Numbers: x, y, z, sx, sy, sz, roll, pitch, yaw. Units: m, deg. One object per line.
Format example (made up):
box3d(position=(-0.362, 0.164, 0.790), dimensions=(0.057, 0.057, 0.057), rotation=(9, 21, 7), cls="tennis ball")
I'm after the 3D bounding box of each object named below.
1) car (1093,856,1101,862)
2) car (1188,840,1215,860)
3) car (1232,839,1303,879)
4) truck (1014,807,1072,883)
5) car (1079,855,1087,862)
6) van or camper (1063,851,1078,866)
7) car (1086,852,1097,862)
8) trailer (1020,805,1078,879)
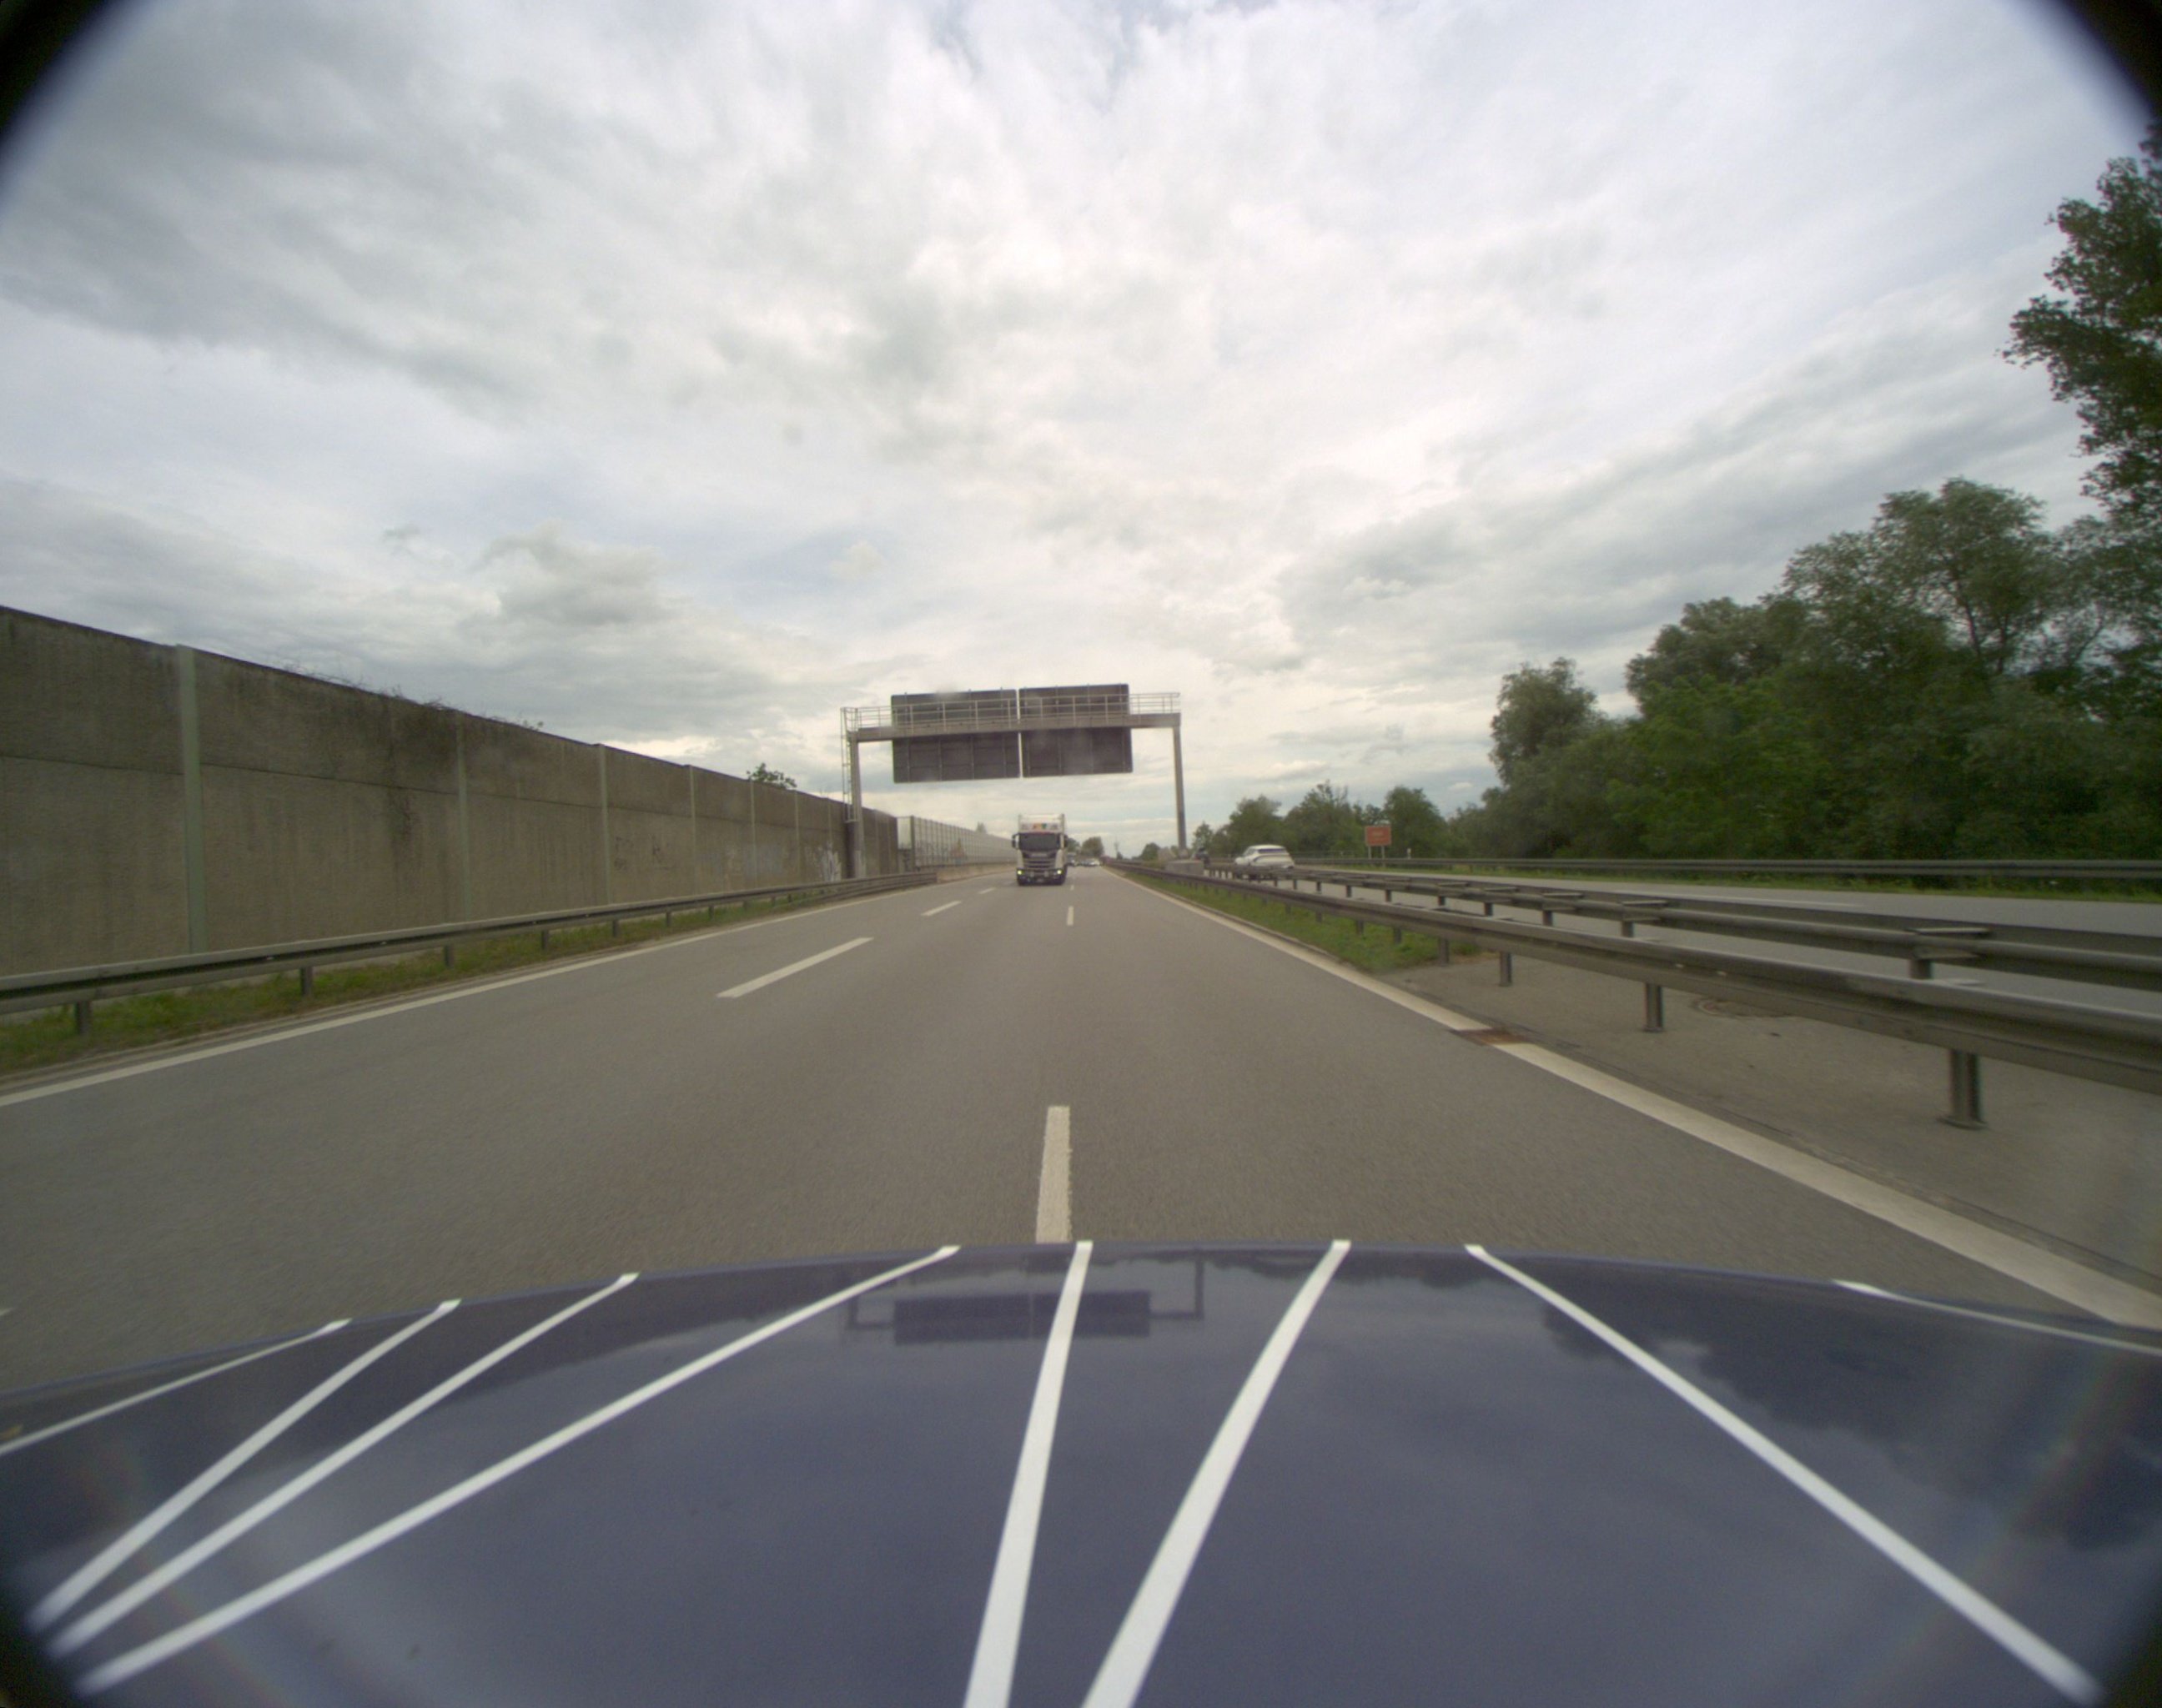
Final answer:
box3d(position=(4.161, 1.316, 195.996), dimensions=(1.889, 1.608, 3.999), rotation=(-2, 0, 0), cls="car")
box3d(position=(12.787, -0.403, 80.753), dimensions=(1.999, 1.991, 4.743), rotation=(-2, 1, -1), cls="car")
box3d(position=(8.390, 0.206, 34.703), dimensions=(1.998, 1.606, 5.028), rotation=(-2, 0, 1), cls="car")
box3d(position=(-2.063, -0.457, 43.107), dimensions=(2.762, 3.936, 5.678), rotation=(-1, 0, 2), cls="truck")
box3d(position=(0.566, 1.083, 183.620), dimensions=(1.889, 1.608, 3.999), rotation=(-2, 0, 0), cls="car")
box3d(position=(-1.895, 0.837, 139.421), dimensions=(2.435, 2.680, 7.227), rotation=(-1, -1, 1), cls="van or camper")
box3d(position=(1.761, 0.597, 133.066), dimensions=(1.889, 1.608, 4.001), rotation=(-1, -1, 0), cls="car")
box3d(position=(-1.848, -0.651, 50.440), dimensions=(2.799, 4.150, 14.105), rotation=(-1, 0, 2), cls="trailer")
